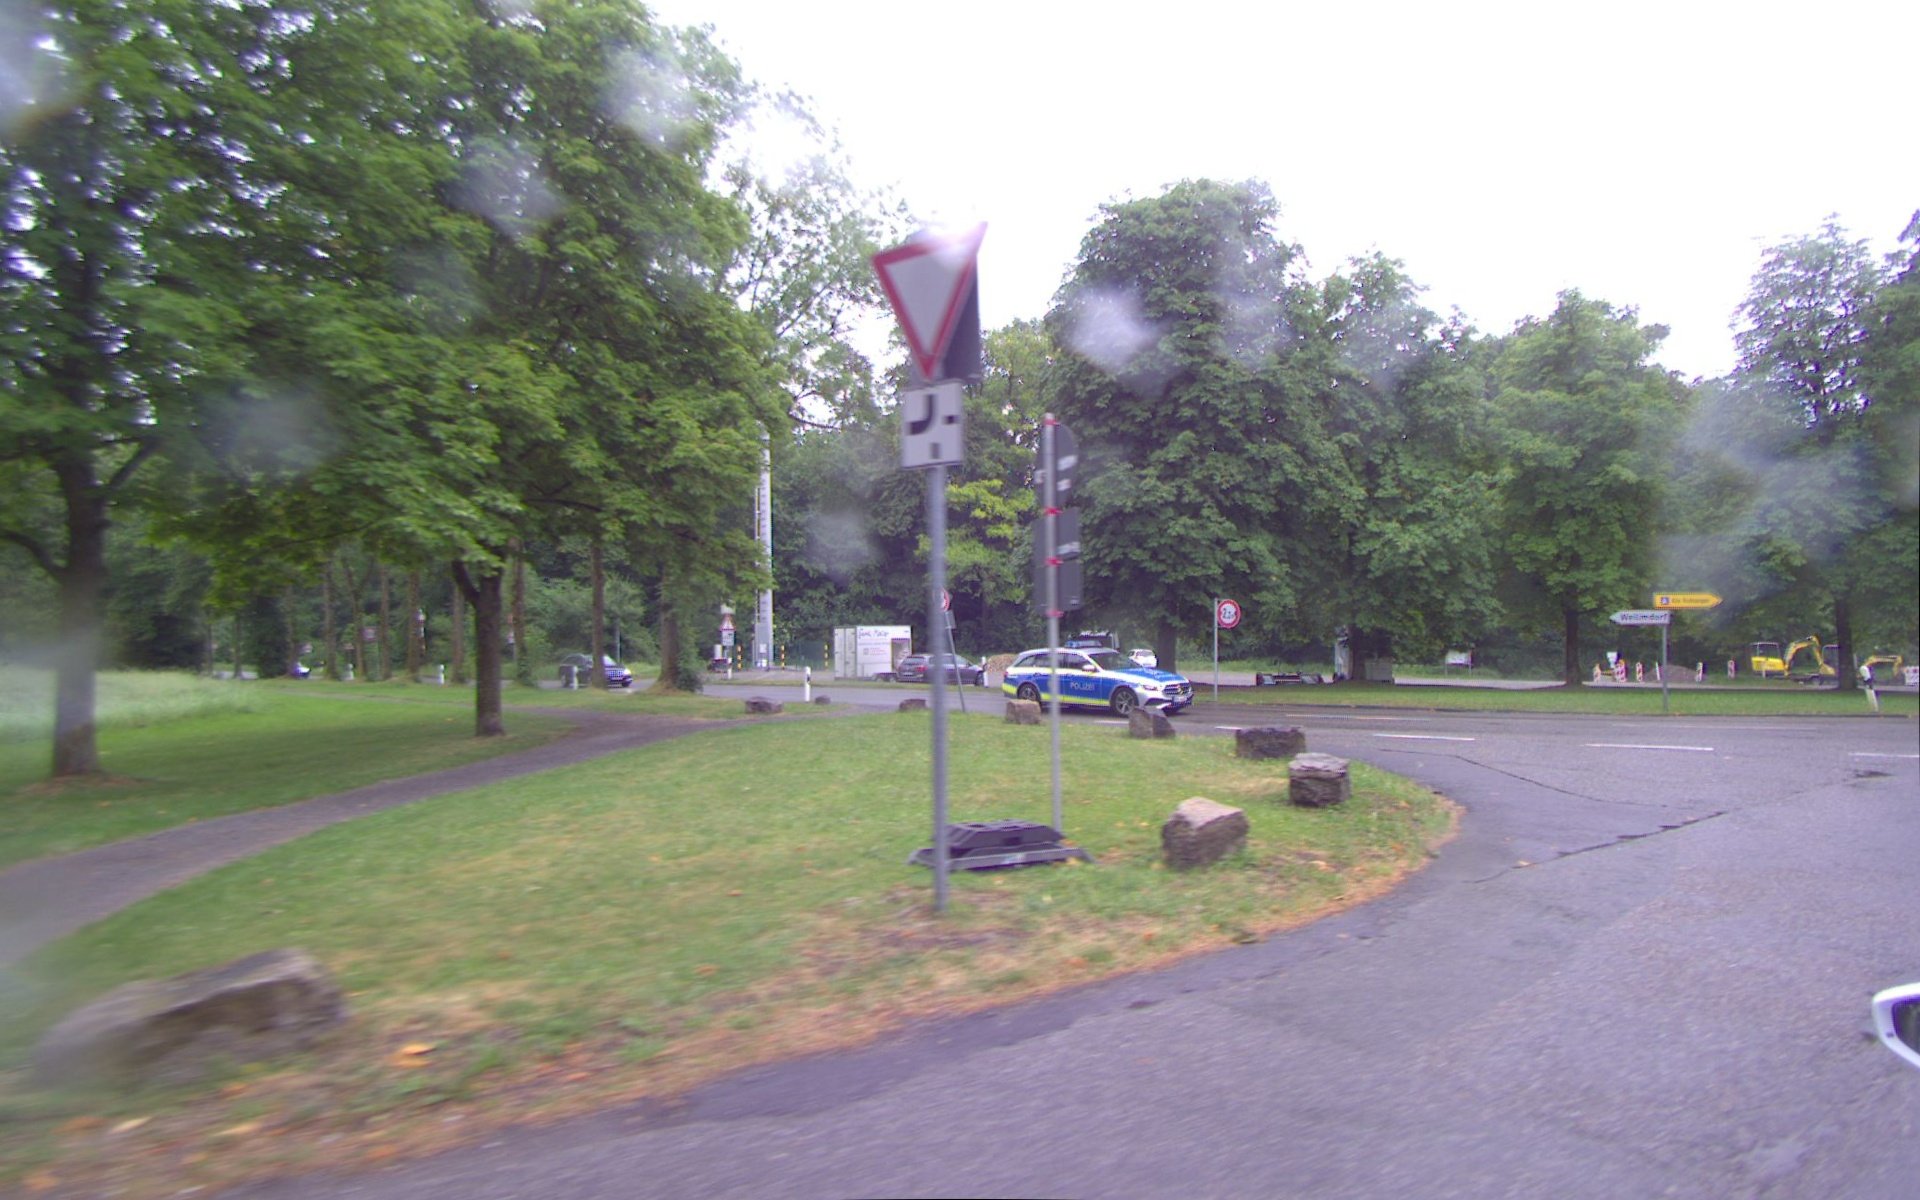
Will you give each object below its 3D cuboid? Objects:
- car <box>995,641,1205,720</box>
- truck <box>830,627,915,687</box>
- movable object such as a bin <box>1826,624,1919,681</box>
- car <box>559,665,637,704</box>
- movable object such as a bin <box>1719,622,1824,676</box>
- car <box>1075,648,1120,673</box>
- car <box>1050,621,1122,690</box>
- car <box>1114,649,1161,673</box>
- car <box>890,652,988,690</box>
[{"bbox_3d":[3.128,1.782,23.358,1.720,1.621,4.839,2,-3,-44],"label":"car"},{"bbox_3d":[-3.781,2.434,43.682,3.328,2.475,1.851,2,-3,-45],"label":"truck"},{"bbox_3d":[56.243,3.197,61.385,3.638,3.337,4.543,2,-3,-41],"label":"movable object such as a bin"},{"bbox_3d":[-15.995,3.680,44.274,1.720,1.502,4.123,2,-3,-44],"label":"car"},{"bbox_3d":[52.425,3.121,64.928,3.883,3.337,4.615,2,-3,-41],"label":"movable object such as a bin"},{"bbox_3d":[9.466,4.171,69.306,1.964,1.606,3.993,0,-2,-10],"label":"car"},{"bbox_3d":[5.090,2.180,39.771,2.344,2.439,5.989,1,-2,12],"label":"car"},{"bbox_3d":[12.267,4.196,69.523,1.964,1.606,3.993,0,-2,-10],"label":"car"},{"bbox_3d":[-0.821,2.896,41.635,1.743,1.448,4.086,-2,-3,41],"label":"car"}]
